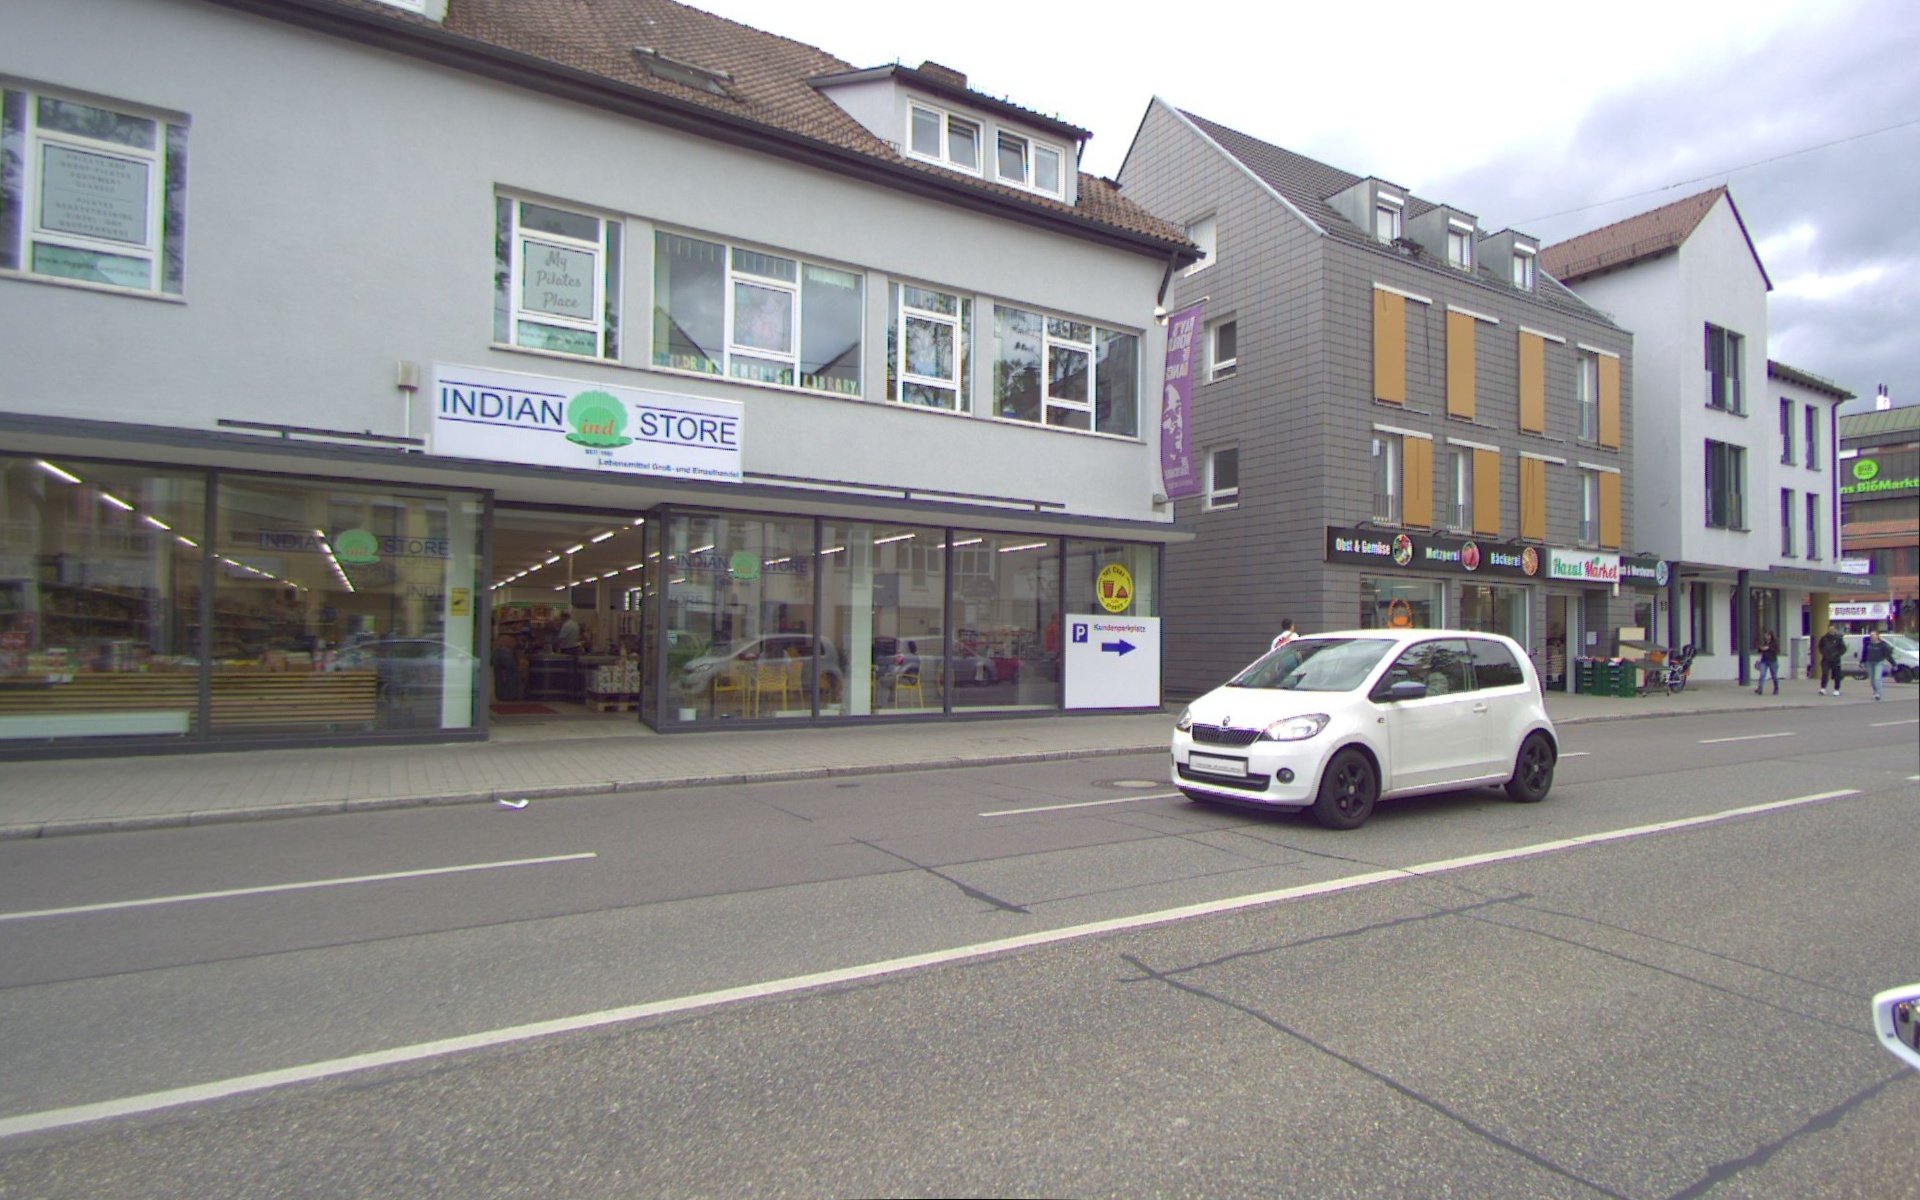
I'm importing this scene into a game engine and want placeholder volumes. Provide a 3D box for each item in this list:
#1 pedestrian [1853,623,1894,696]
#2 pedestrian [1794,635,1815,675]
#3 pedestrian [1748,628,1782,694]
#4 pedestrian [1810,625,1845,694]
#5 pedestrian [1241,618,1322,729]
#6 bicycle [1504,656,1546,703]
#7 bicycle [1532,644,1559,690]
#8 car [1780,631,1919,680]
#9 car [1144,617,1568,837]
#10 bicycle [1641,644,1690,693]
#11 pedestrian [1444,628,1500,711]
[{"bbox_3d":[23.097,1.501,25.408,0.643,1.814,0.676,1,-2,-40],"label":"pedestrian"},{"bbox_3d":[35.242,2.289,41.928,0.654,1.670,0.790,-1,-2,39],"label":"pedestrian"},{"bbox_3d":[20.893,1.564,26.086,0.643,1.672,0.557,-1,-2,37],"label":"pedestrian"},{"bbox_3d":[22.897,1.552,26.518,0.640,1.799,0.565,1,-2,-36],"label":"pedestrian"},{"bbox_3d":[5.244,1.173,16.386,0.969,1.728,0.750,1,1,-30],"label":"pedestrian"},{"bbox_3d":[12.267,1.702,21.804,1.472,0.966,0.323,2,-2,-41],"label":"bicycle"},{"bbox_3d":[15.105,1.711,25.931,0.380,1.142,1.290,0,-2,21],"label":"bicycle"},{"bbox_3d":[37.254,2.266,41.365,1.968,1.913,5.140,0,-3,-18],"label":"car"},{"bbox_3d":[3.375,0.938,8.470,3.424,1.508,1.566,1,-3,-31],"label":"car"},{"bbox_3d":[17.942,1.722,25.539,1.806,1.201,0.384,1,-2,-33],"label":"bicycle"},{"bbox_3d":[10.272,1.379,20.162,0.744,1.631,0.725,1,-2,-30],"label":"pedestrian"}]
